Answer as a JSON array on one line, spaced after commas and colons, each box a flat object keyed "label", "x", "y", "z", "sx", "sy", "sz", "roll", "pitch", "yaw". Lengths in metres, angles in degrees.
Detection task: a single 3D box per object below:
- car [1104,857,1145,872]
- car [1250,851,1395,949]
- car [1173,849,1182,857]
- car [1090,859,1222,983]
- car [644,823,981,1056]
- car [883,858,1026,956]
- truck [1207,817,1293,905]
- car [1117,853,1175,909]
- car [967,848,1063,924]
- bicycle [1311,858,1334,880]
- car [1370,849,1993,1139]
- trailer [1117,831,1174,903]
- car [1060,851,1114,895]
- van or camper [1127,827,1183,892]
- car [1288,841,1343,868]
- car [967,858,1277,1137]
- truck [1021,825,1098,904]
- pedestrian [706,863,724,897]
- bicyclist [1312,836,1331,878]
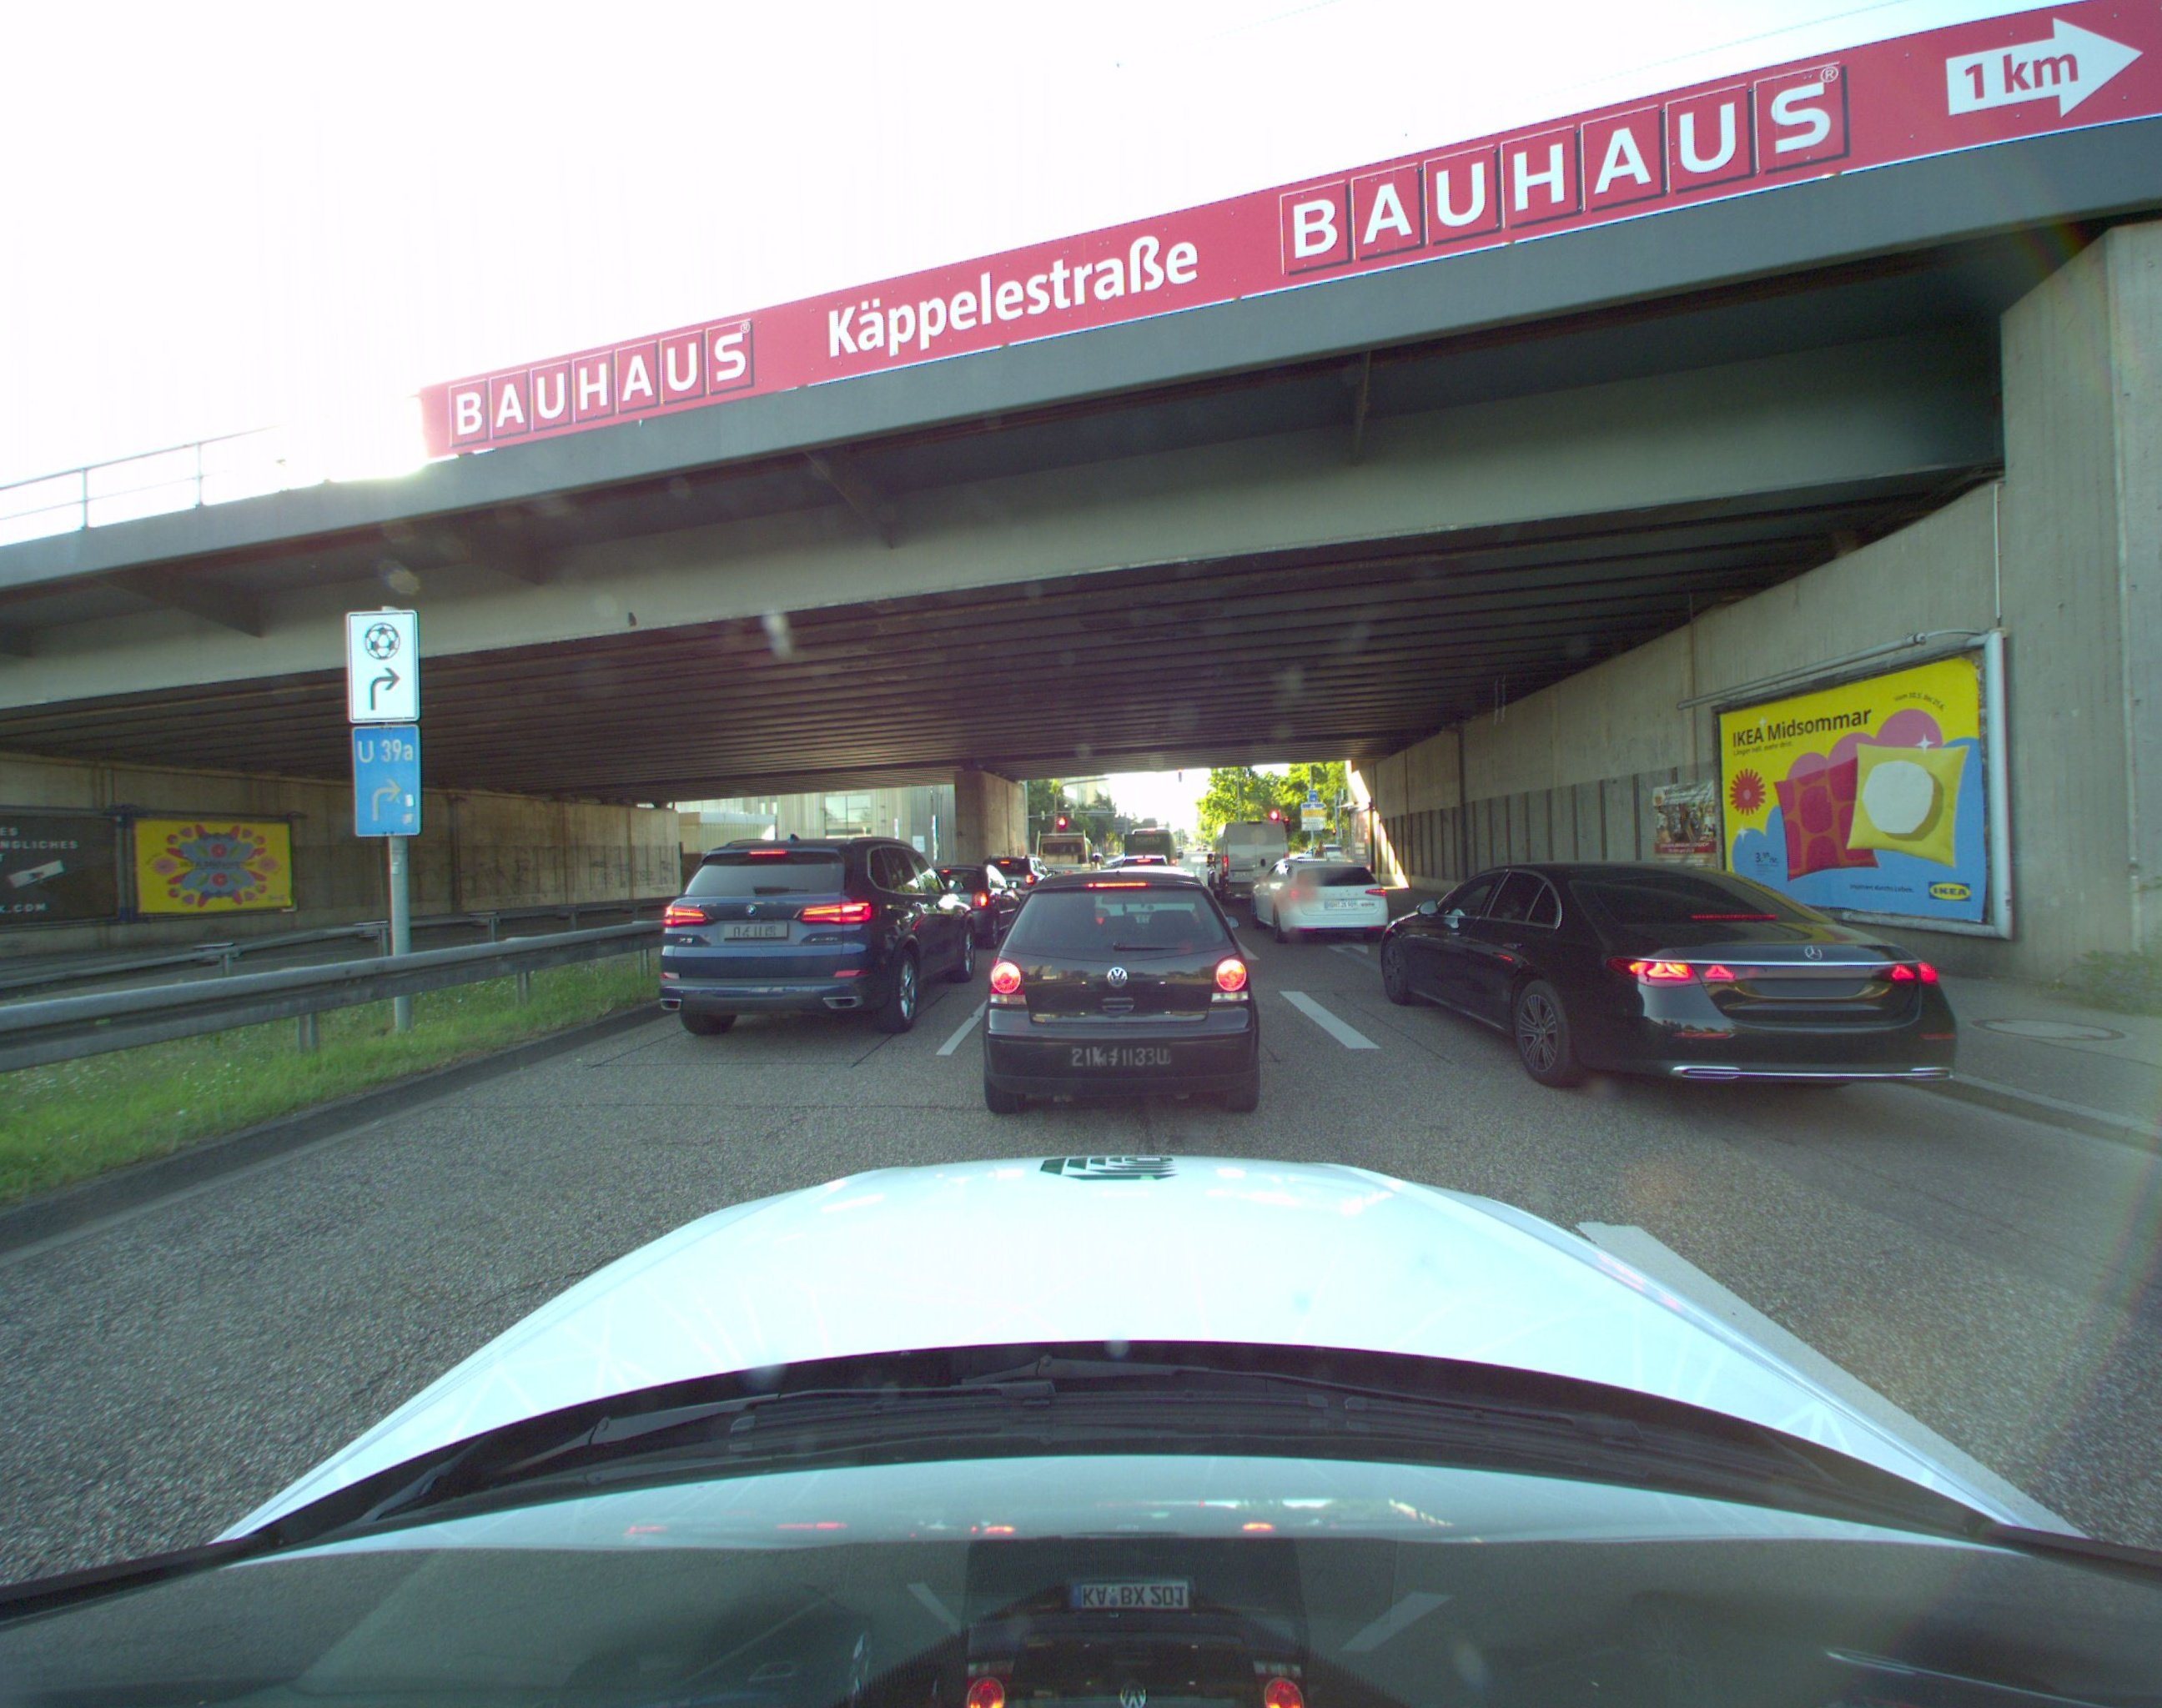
[{"label": "car", "x": 3.235, "y": 0.776, "z": 60.446, "sx": 2.823, "sy": 1.081, "sz": 1.214, "roll": -1, "pitch": -1, "yaw": -11}, {"label": "car", "x": 4.291, "y": 0.779, "z": 15.057, "sx": 1.764, "sy": 1.495, "sz": 3.836, "roll": -3, "pitch": -1, "yaw": 5}, {"label": "car", "x": 18.179, "y": -0.216, "z": 152.870, "sx": 1.335, "sy": 1.281, "sz": 2.893, "roll": -5, "pitch": -1, "yaw": 1}, {"label": "car", "x": 0.998, "y": 0.799, "z": 11.299, "sx": 1.540, "sy": 1.423, "sz": 3.421, "roll": 0, "pitch": 0, "yaw": 4}, {"label": "car", "x": -2.356, "y": 0.704, "z": 8.517, "sx": 1.822, "sy": 1.738, "sz": 4.464, "roll": -2, "pitch": -1, "yaw": 3}, {"label": "car", "x": -2.183, "y": 0.893, "z": 15.082, "sx": 1.834, "sy": 1.440, "sz": 3.677, "roll": -5, "pitch": -1, "yaw": 2}, {"label": "truck", "x": 5.397, "y": 0.235, "z": 26.594, "sx": 2.102, "sy": 2.519, "sz": 4.406, "roll": -3, "pitch": -1, "yaw": 4}, {"label": "car", "x": 1.970, "y": 0.795, "z": 24.417, "sx": 1.574, "sy": 1.532, "sz": 3.837, "roll": -1, "pitch": -1, "yaw": 5}, {"label": "car", "x": -1.679, "y": 0.820, "z": 22.104, "sx": 1.833, "sy": 1.719, "sz": 4.005, "roll": -5, "pitch": -1, "yaw": 5}, {"label": "bicycle", "x": 11.101, "y": 0.688, "z": 37.549, "sx": 0.575, "sy": 0.963, "sz": 2.892, "roll": -2, "pitch": -1, "yaw": 8}, {"label": "car", "x": 3.913, "y": 0.716, "z": 6.515, "sx": 1.733, "sy": 1.454, "sz": 4.609, "roll": -1, "pitch": 0, "yaw": 2}, {"label": "trailer", "x": 2.499, "y": 0.489, "z": 30.584, "sx": 1.854, "sy": 2.465, "sz": 3.839, "roll": -3, "pitch": -1, "yaw": 7}, {"label": "car", "x": 0.330, "y": 0.871, "z": 37.748, "sx": 1.983, "sy": 1.901, "sz": 4.007, "roll": -2, "pitch": -1, "yaw": 7}, {"label": "van or camper", "x": 3.356, "y": 0.261, "z": 35.862, "sx": 1.982, "sy": 2.571, "sz": 5.932, "roll": -2, "pitch": -1, "yaw": 9}, {"label": "car", "x": 17.813, "y": 0.033, "z": 61.967, "sx": 3.771, "sy": 1.684, "sz": 1.669, "roll": -5, "pitch": -1, "yaw": 10}, {"label": "car", "x": 0.247, "y": 0.786, "z": 6.135, "sx": 1.576, "sy": 1.409, "sz": 3.832, "roll": -1, "pitch": -1, "yaw": 1}, {"label": "truck", "x": -0.653, "y": 0.396, "z": 29.560, "sx": 2.018, "sy": 2.557, "sz": 5.546, "roll": -2, "pitch": -1, "yaw": 6}, {"label": "pedestrian", "x": -20.756, "y": 1.461, "z": 46.183, "sx": 0.690, "sy": 1.904, "sz": 0.666, "roll": -2, "pitch": -1, "yaw": 7}, {"label": "bicyclist", "x": 11.116, "y": 0.143, "z": 37.635, "sx": 0.678, "sy": 1.907, "sz": 0.835, "roll": -2, "pitch": -1, "yaw": 9}]
